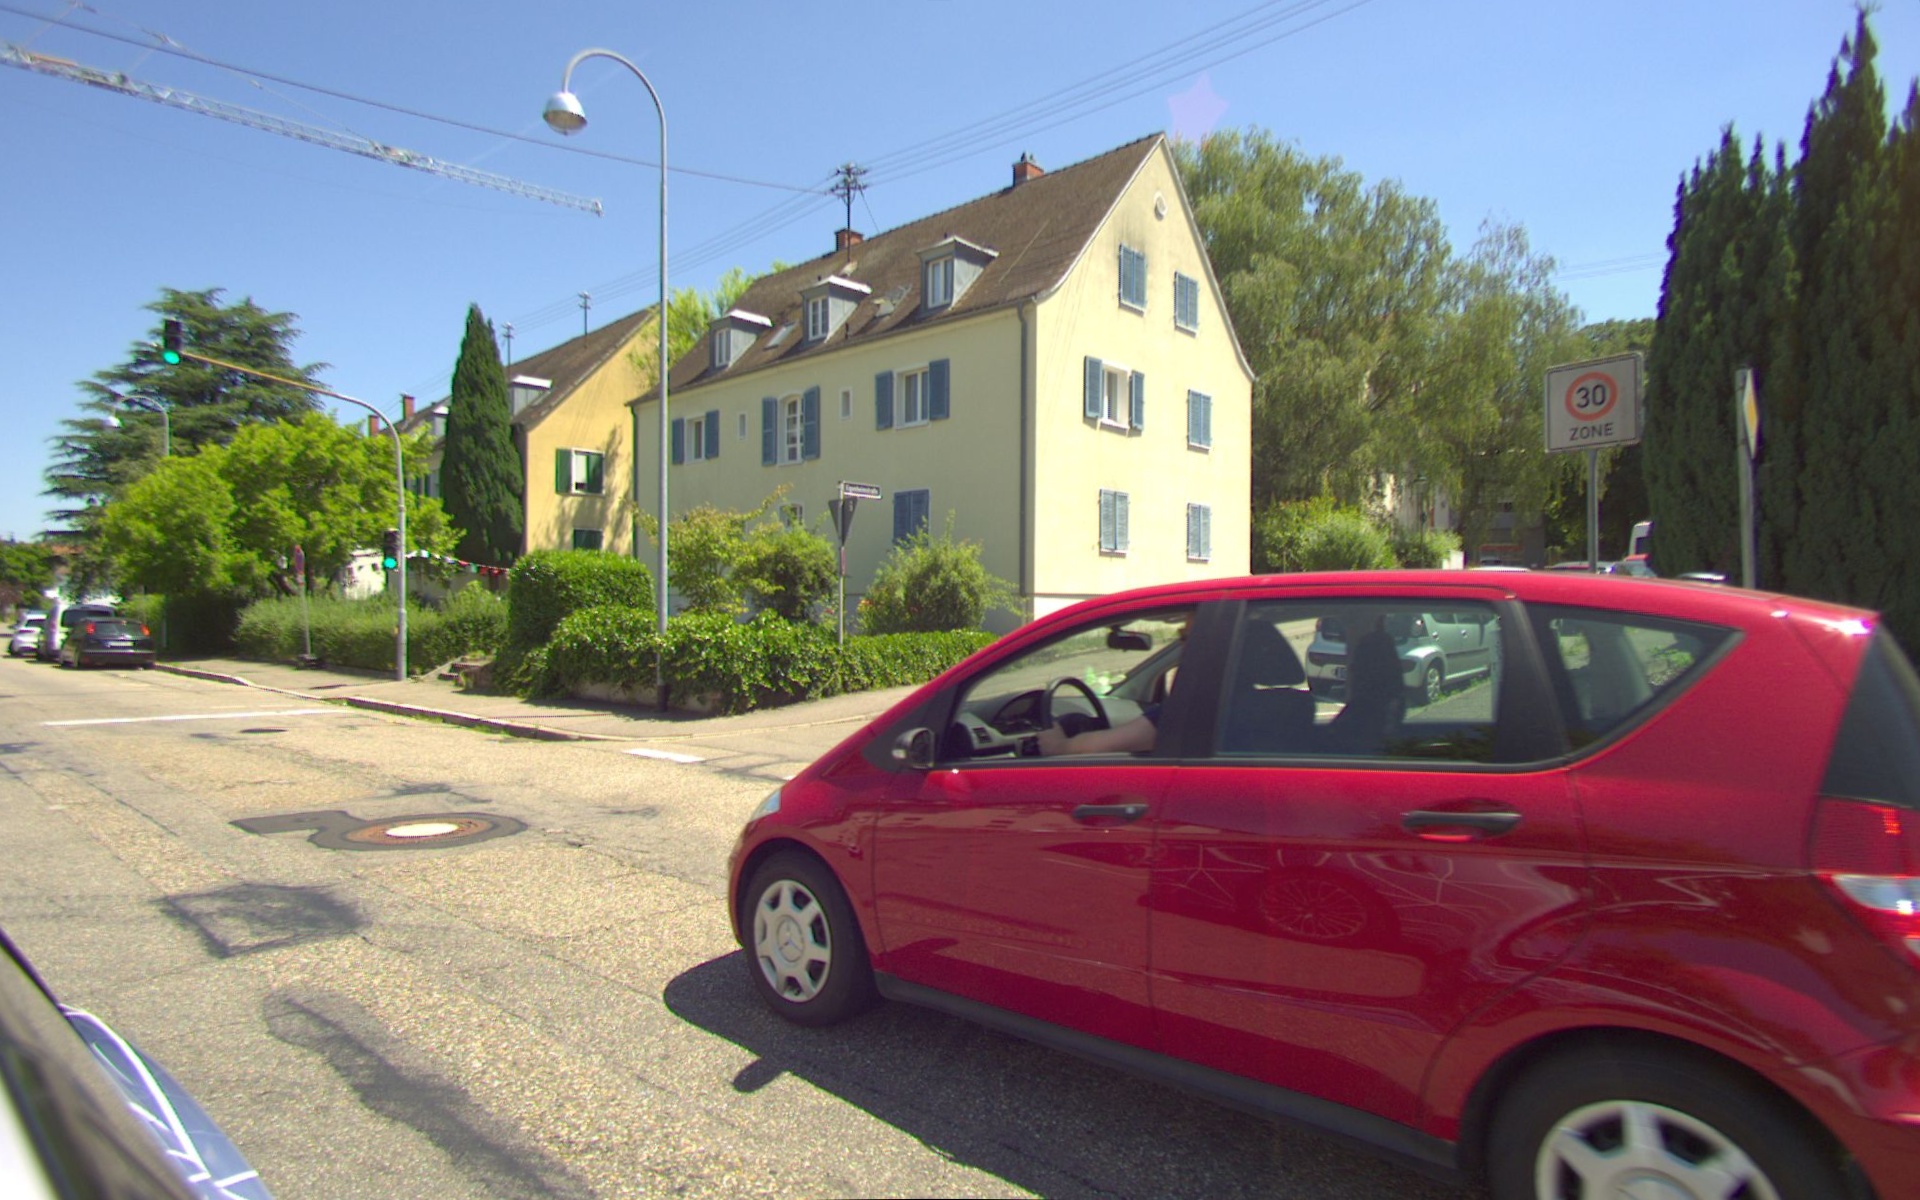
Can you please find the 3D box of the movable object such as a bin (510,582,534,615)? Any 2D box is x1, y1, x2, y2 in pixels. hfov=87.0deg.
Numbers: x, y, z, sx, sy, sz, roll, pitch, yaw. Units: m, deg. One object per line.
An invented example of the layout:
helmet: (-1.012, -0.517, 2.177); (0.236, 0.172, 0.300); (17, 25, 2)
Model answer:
movable object such as a bin: (-16.459, -0.042, 37.998); (0.674, 1.205, 0.614); (-1, -2, 43)

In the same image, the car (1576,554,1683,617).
car: (17.215, -0.405, 25.958); (1.749, 1.467, 3.542); (0, 3, 43)

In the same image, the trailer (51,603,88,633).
trailer: (-63.967, 1.333, 72.739); (1.791, 2.049, 4.007); (4, -3, -39)

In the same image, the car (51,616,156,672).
car: (-23.804, 1.196, 28.094); (3.925, 1.423, 1.663); (-1, -3, 42)

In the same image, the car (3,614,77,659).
car: (-31.601, 1.246, 34.727); (1.661, 1.452, 4.250); (3, -3, -44)

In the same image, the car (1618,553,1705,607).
car: (21.034, -0.630, 30.299); (1.748, 1.467, 3.544); (0, 3, 41)

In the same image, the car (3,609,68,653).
car: (-36.338, 1.202, 39.743); (1.661, 1.649, 4.333); (3, -3, -44)

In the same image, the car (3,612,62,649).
car: (-40.086, 1.312, 43.719); (1.661, 1.487, 4.333); (3, -3, -44)

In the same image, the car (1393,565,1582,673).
car: (8.857, 0.229, 16.875); (3.539, 1.467, 1.750); (-5, 4, -44)

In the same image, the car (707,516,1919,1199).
car: (1.059, 0.697, 3.248); (3.693, 1.578, 1.796); (-1, -3, 40)

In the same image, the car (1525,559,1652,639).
car: (13.413, -0.072, 21.527); (1.735, 1.467, 3.168); (0, 4, 43)

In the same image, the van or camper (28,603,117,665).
van or camper: (-27.498, 1.043, 31.324); (3.986, 1.818, 1.662); (-1, -3, 44)

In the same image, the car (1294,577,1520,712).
car: (6.130, 0.499, 13.763); (3.165, 1.467, 1.736); (-5, 4, -44)

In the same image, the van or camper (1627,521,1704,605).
van or camper: (24.964, -1.245, 35.951); (1.994, 2.731, 5.311); (-1, 0, 33)
